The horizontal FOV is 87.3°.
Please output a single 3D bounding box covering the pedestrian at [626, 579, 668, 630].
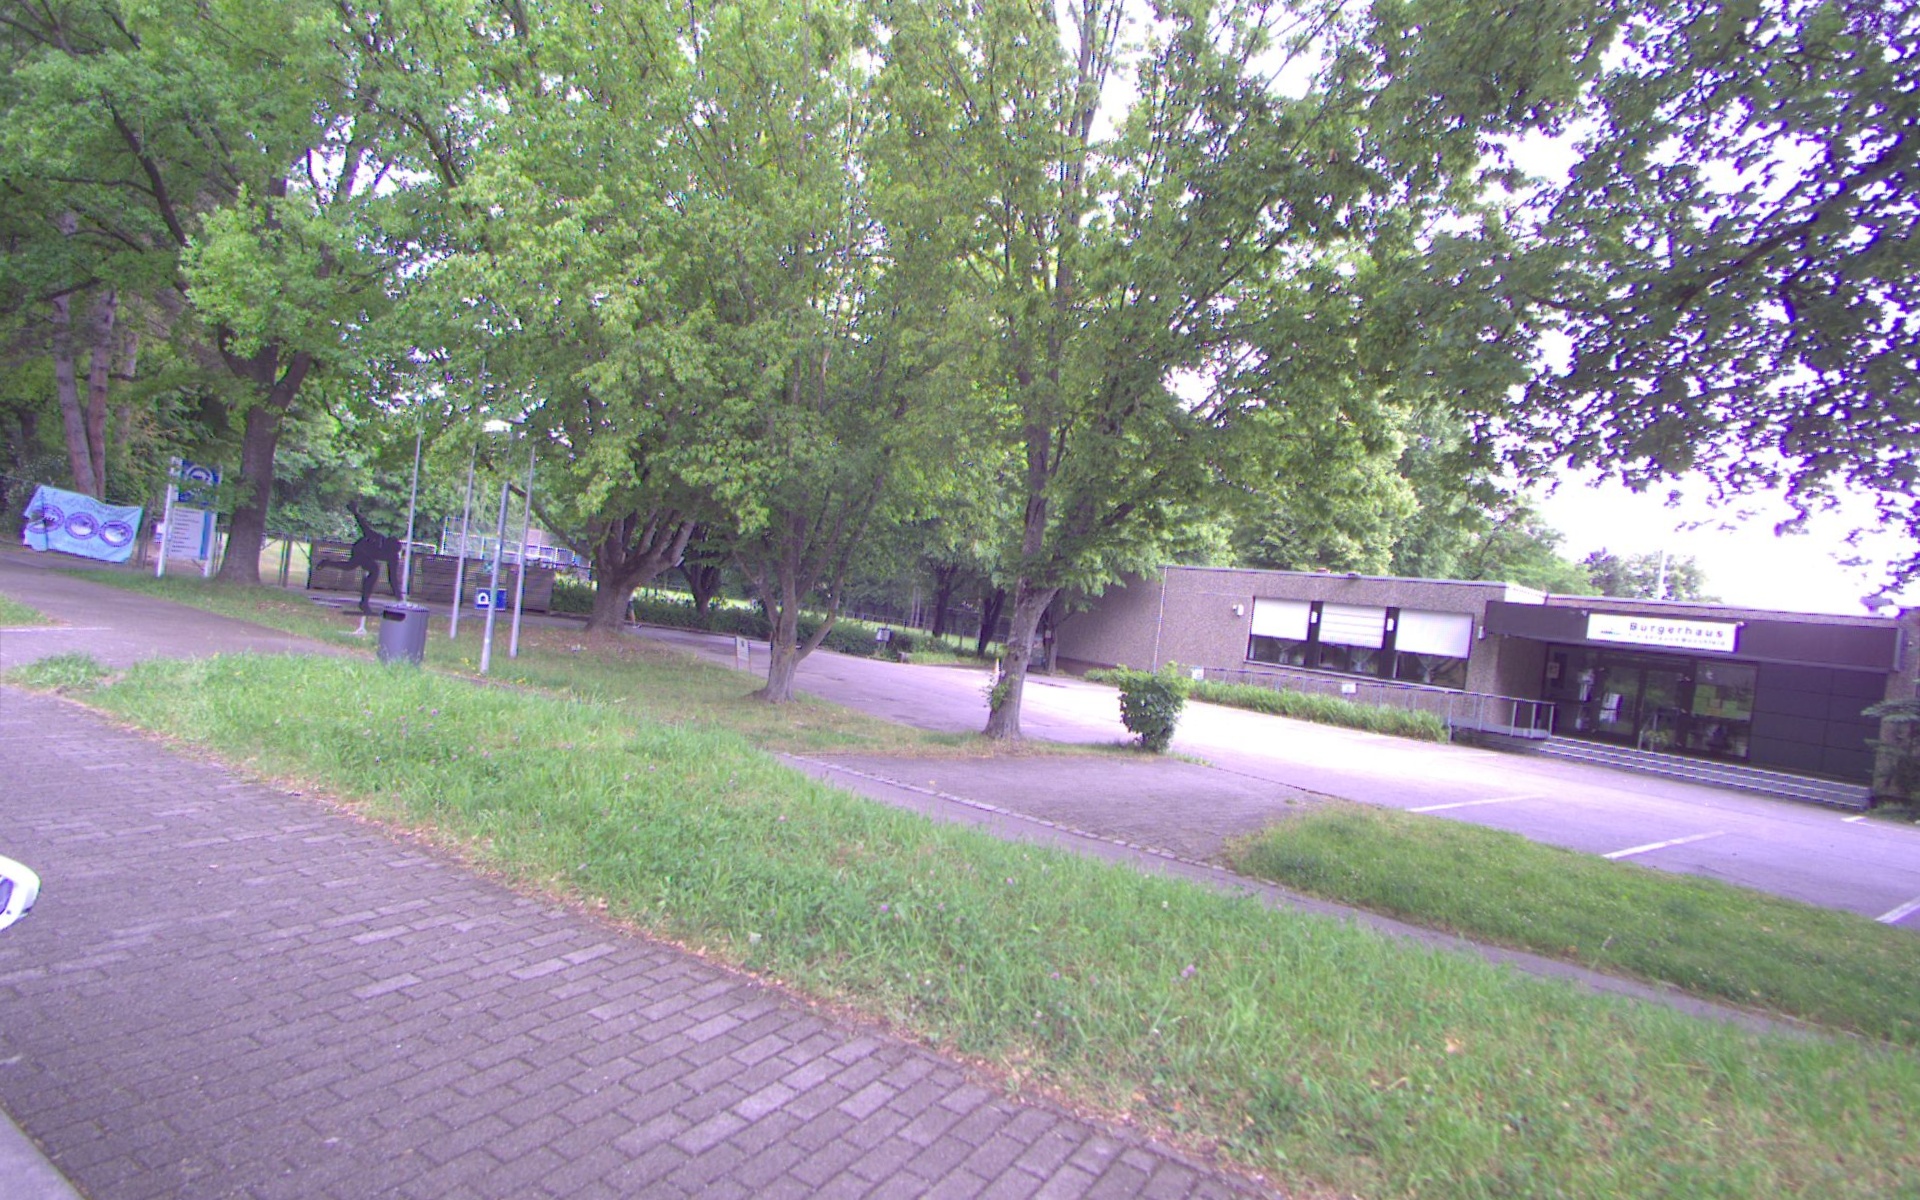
[{"bbox_3d":[-11.188,0.165,35.933,1.139,1.695,0.786,5,1,-33],"label":"pedestrian"}]
